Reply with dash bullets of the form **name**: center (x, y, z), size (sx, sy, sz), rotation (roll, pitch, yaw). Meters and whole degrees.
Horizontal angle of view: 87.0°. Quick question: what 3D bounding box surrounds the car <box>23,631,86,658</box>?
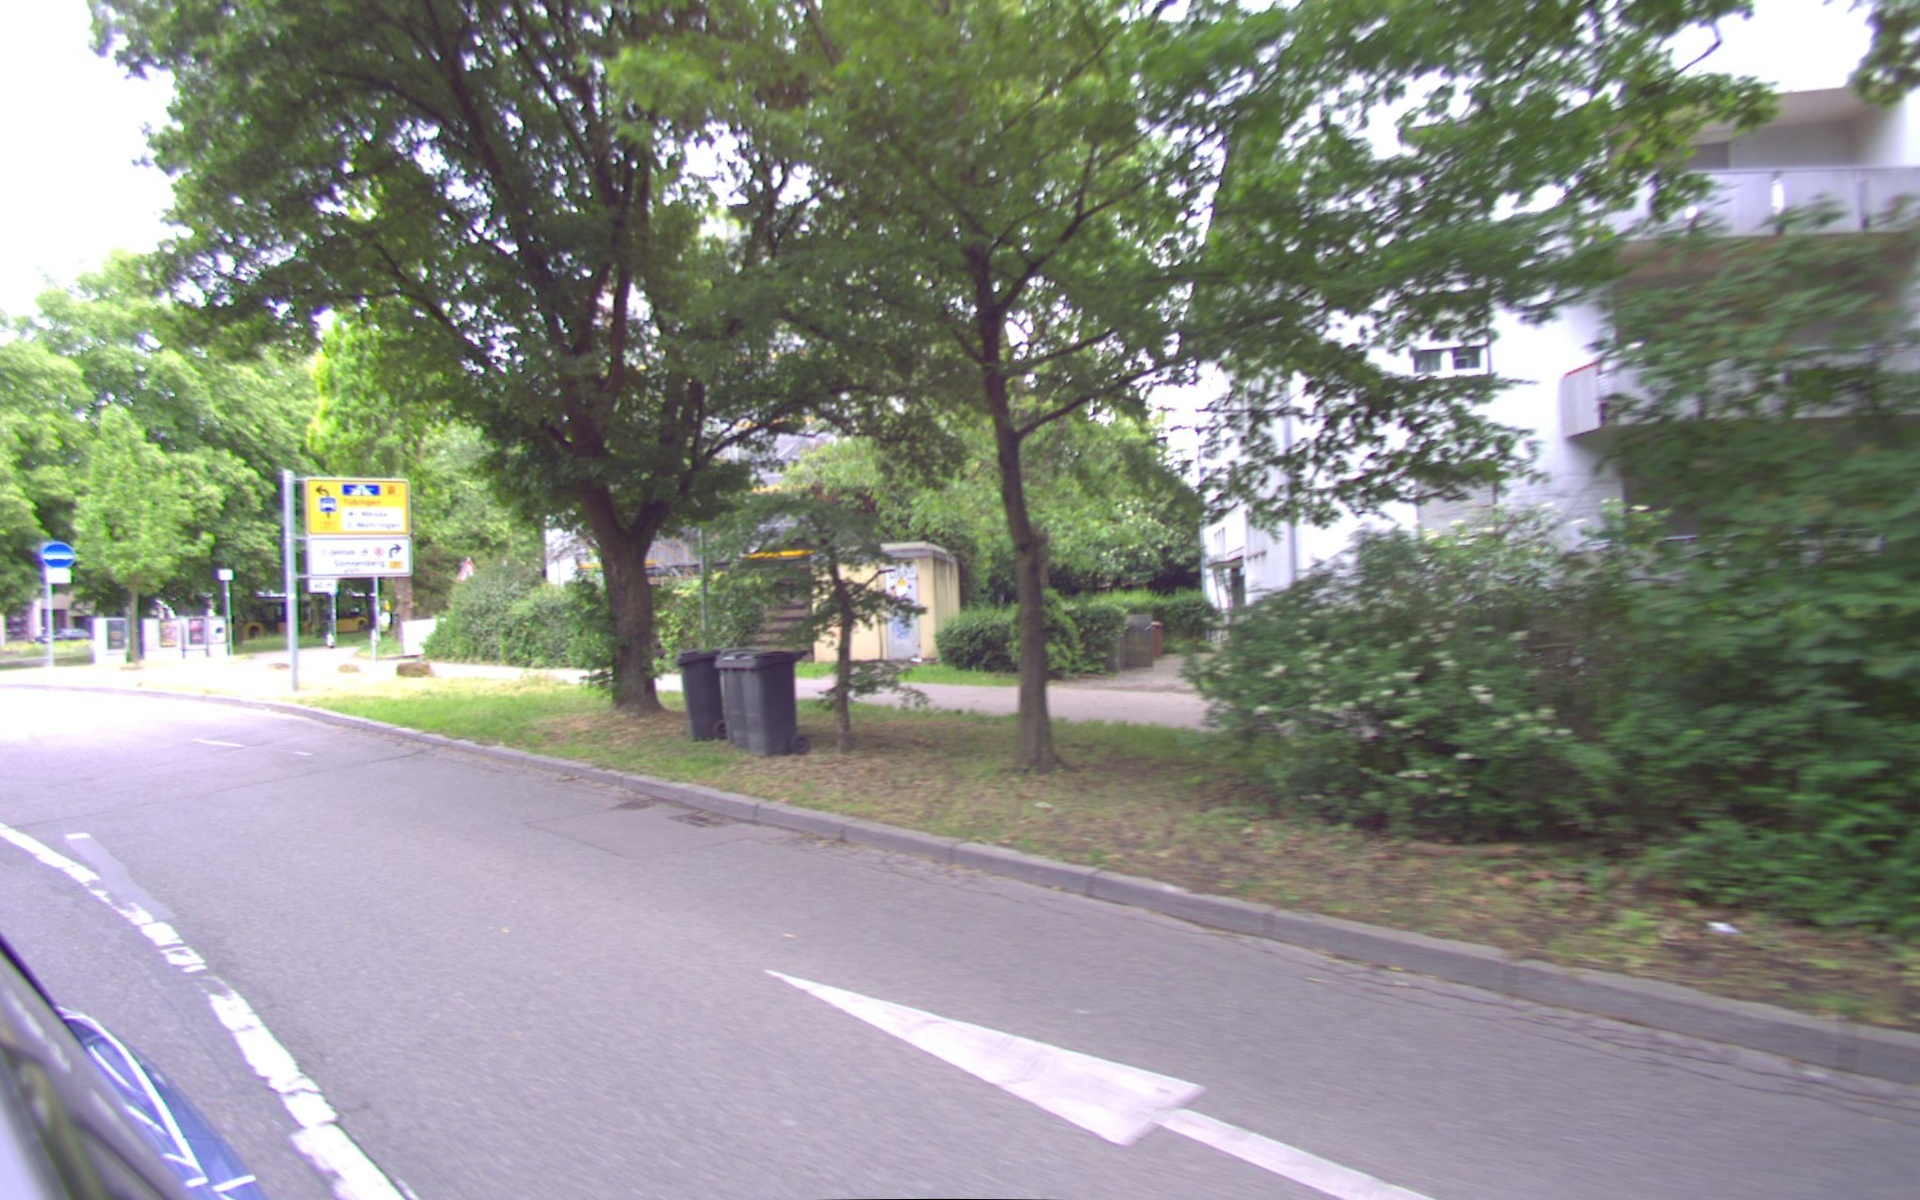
- **car**: center (-76.156, 3.725, 85.173), size (1.969, 1.829, 4.007), rotation (-4, 1, -7)

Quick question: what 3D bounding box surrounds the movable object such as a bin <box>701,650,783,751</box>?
- **movable object such as a bin**: center (-2.147, 0.968, 9.959), size (0.610, 0.885, 0.595), rotation (-5, 1, -26)

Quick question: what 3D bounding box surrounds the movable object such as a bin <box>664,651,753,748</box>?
- **movable object such as a bin**: center (-2.597, 0.999, 10.410), size (0.718, 0.869, 0.624), rotation (-5, 1, -26)

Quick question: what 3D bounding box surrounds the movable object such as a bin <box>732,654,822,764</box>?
- **movable object such as a bin**: center (-1.628, 0.944, 8.960), size (0.590, 0.851, 0.580), rotation (-5, 1, -26)

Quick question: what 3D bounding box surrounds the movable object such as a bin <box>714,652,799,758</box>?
- **movable object such as a bin**: center (-1.899, 0.956, 9.396), size (0.590, 0.872, 0.580), rotation (-5, 1, -26)

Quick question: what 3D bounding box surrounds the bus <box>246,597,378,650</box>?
- **bus**: center (-44.215, 1.482, 69.543), size (3.010, 3.031, 9.701), rotation (-4, 1, -2)

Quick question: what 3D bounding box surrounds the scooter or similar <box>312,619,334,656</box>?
- **scooter or similar**: center (-26.084, 1.531, 41.445), size (0.547, 1.456, 1.596), rotation (-5, 1, -36)

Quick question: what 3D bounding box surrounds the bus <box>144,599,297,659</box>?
- **bus**: center (-43.877, 1.604, 60.482), size (3.010, 3.031, 8.434), rotation (-4, 1, -2)
